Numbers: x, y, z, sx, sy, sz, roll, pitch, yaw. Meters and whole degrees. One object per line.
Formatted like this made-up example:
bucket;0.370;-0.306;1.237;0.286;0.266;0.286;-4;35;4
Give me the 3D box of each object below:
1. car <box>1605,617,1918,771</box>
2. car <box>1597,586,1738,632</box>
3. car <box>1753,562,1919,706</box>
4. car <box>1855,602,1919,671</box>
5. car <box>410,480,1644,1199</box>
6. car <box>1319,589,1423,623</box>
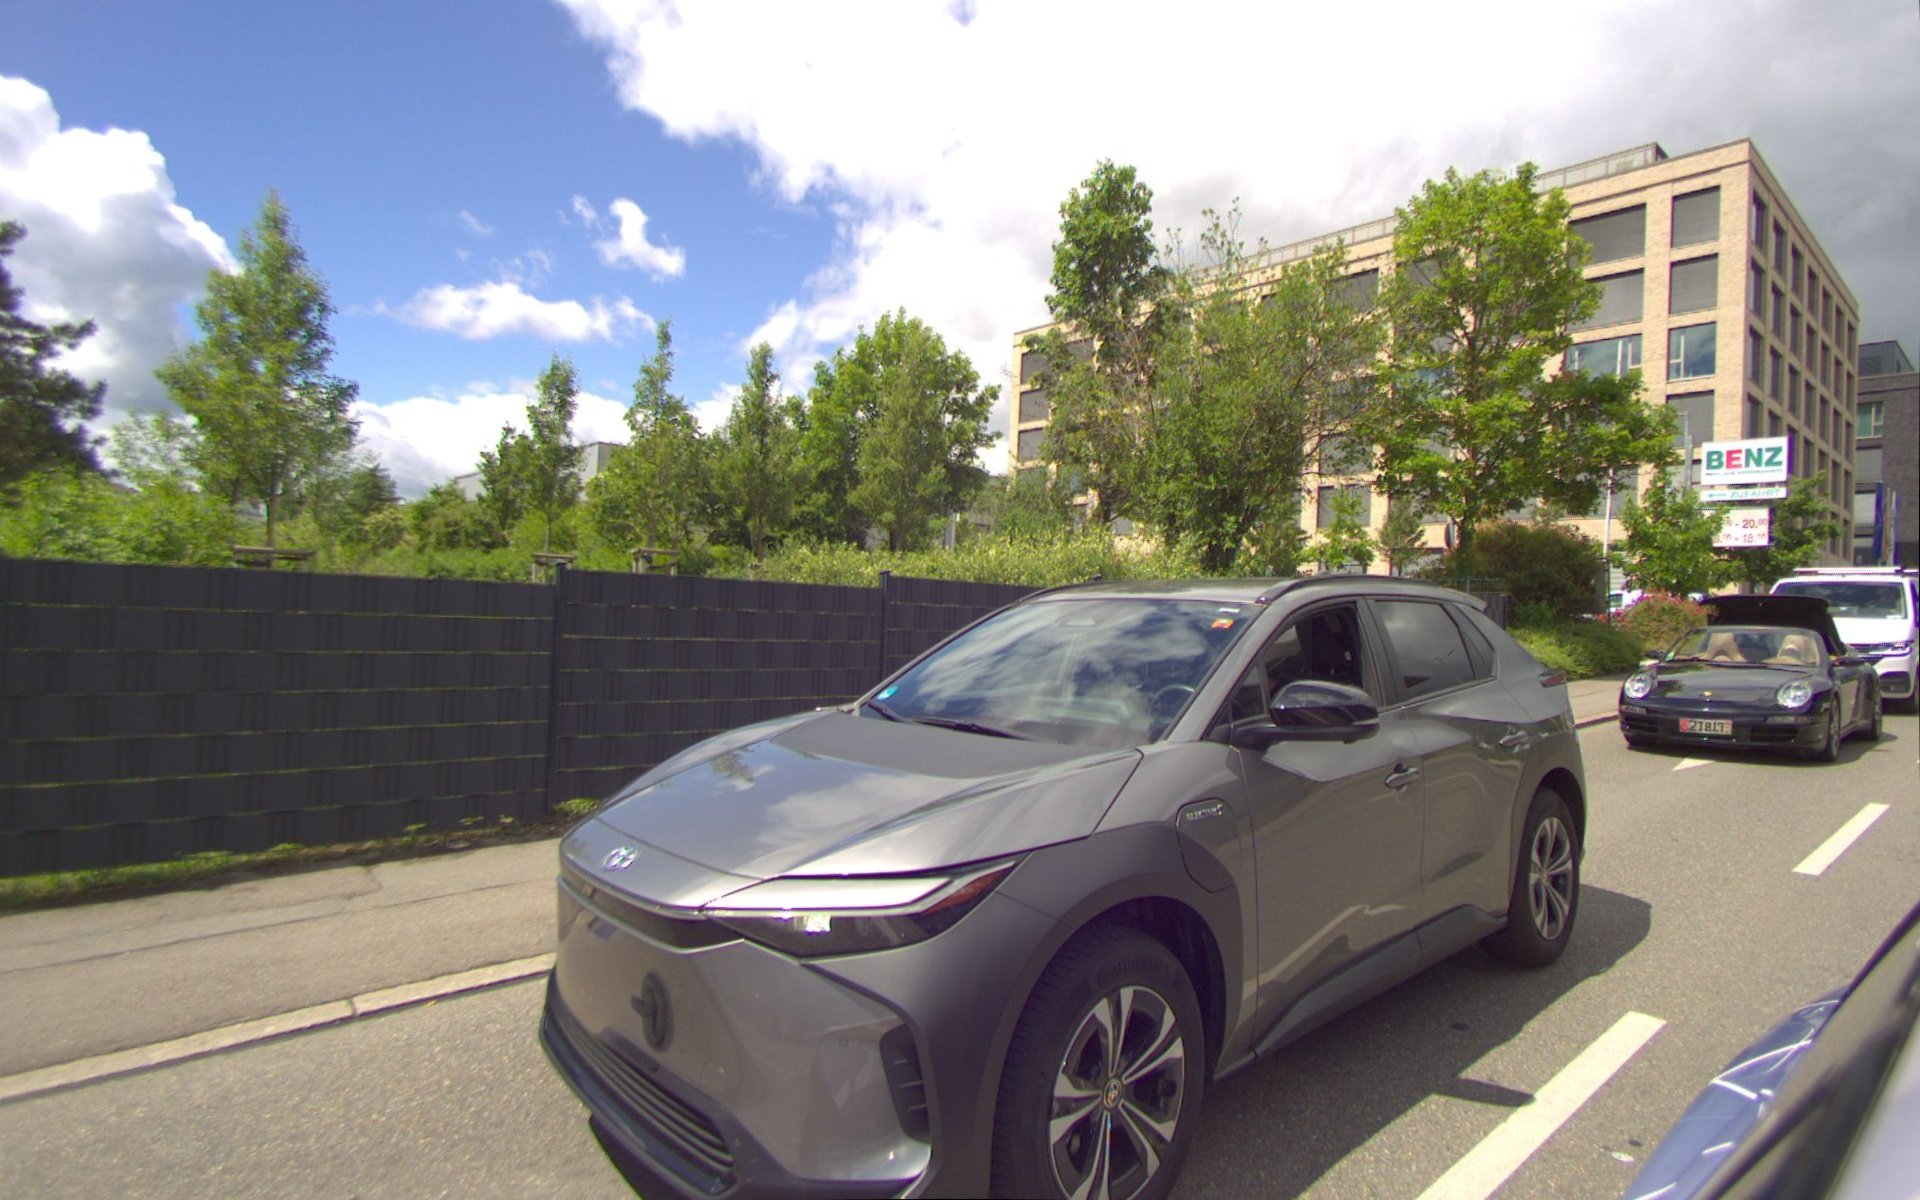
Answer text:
car;8.763;0.852;10.917;4.487;1.290;1.776;0;-1;-40
car;27.341;0.322;39.200;1.707;1.596;4.211;1;1;-44
car;13.693;0.461;15.211;4.563;1.874;1.962;0;-1;-41
car;20.498;0.728;21.241;4.485;1.290;1.778;0;1;-38
car;0.724;0.651;3.791;4.601;1.634;1.922;0;-1;-41
car;19.377;0.245;47.854;1.705;1.436;4.215;1;1;-41
